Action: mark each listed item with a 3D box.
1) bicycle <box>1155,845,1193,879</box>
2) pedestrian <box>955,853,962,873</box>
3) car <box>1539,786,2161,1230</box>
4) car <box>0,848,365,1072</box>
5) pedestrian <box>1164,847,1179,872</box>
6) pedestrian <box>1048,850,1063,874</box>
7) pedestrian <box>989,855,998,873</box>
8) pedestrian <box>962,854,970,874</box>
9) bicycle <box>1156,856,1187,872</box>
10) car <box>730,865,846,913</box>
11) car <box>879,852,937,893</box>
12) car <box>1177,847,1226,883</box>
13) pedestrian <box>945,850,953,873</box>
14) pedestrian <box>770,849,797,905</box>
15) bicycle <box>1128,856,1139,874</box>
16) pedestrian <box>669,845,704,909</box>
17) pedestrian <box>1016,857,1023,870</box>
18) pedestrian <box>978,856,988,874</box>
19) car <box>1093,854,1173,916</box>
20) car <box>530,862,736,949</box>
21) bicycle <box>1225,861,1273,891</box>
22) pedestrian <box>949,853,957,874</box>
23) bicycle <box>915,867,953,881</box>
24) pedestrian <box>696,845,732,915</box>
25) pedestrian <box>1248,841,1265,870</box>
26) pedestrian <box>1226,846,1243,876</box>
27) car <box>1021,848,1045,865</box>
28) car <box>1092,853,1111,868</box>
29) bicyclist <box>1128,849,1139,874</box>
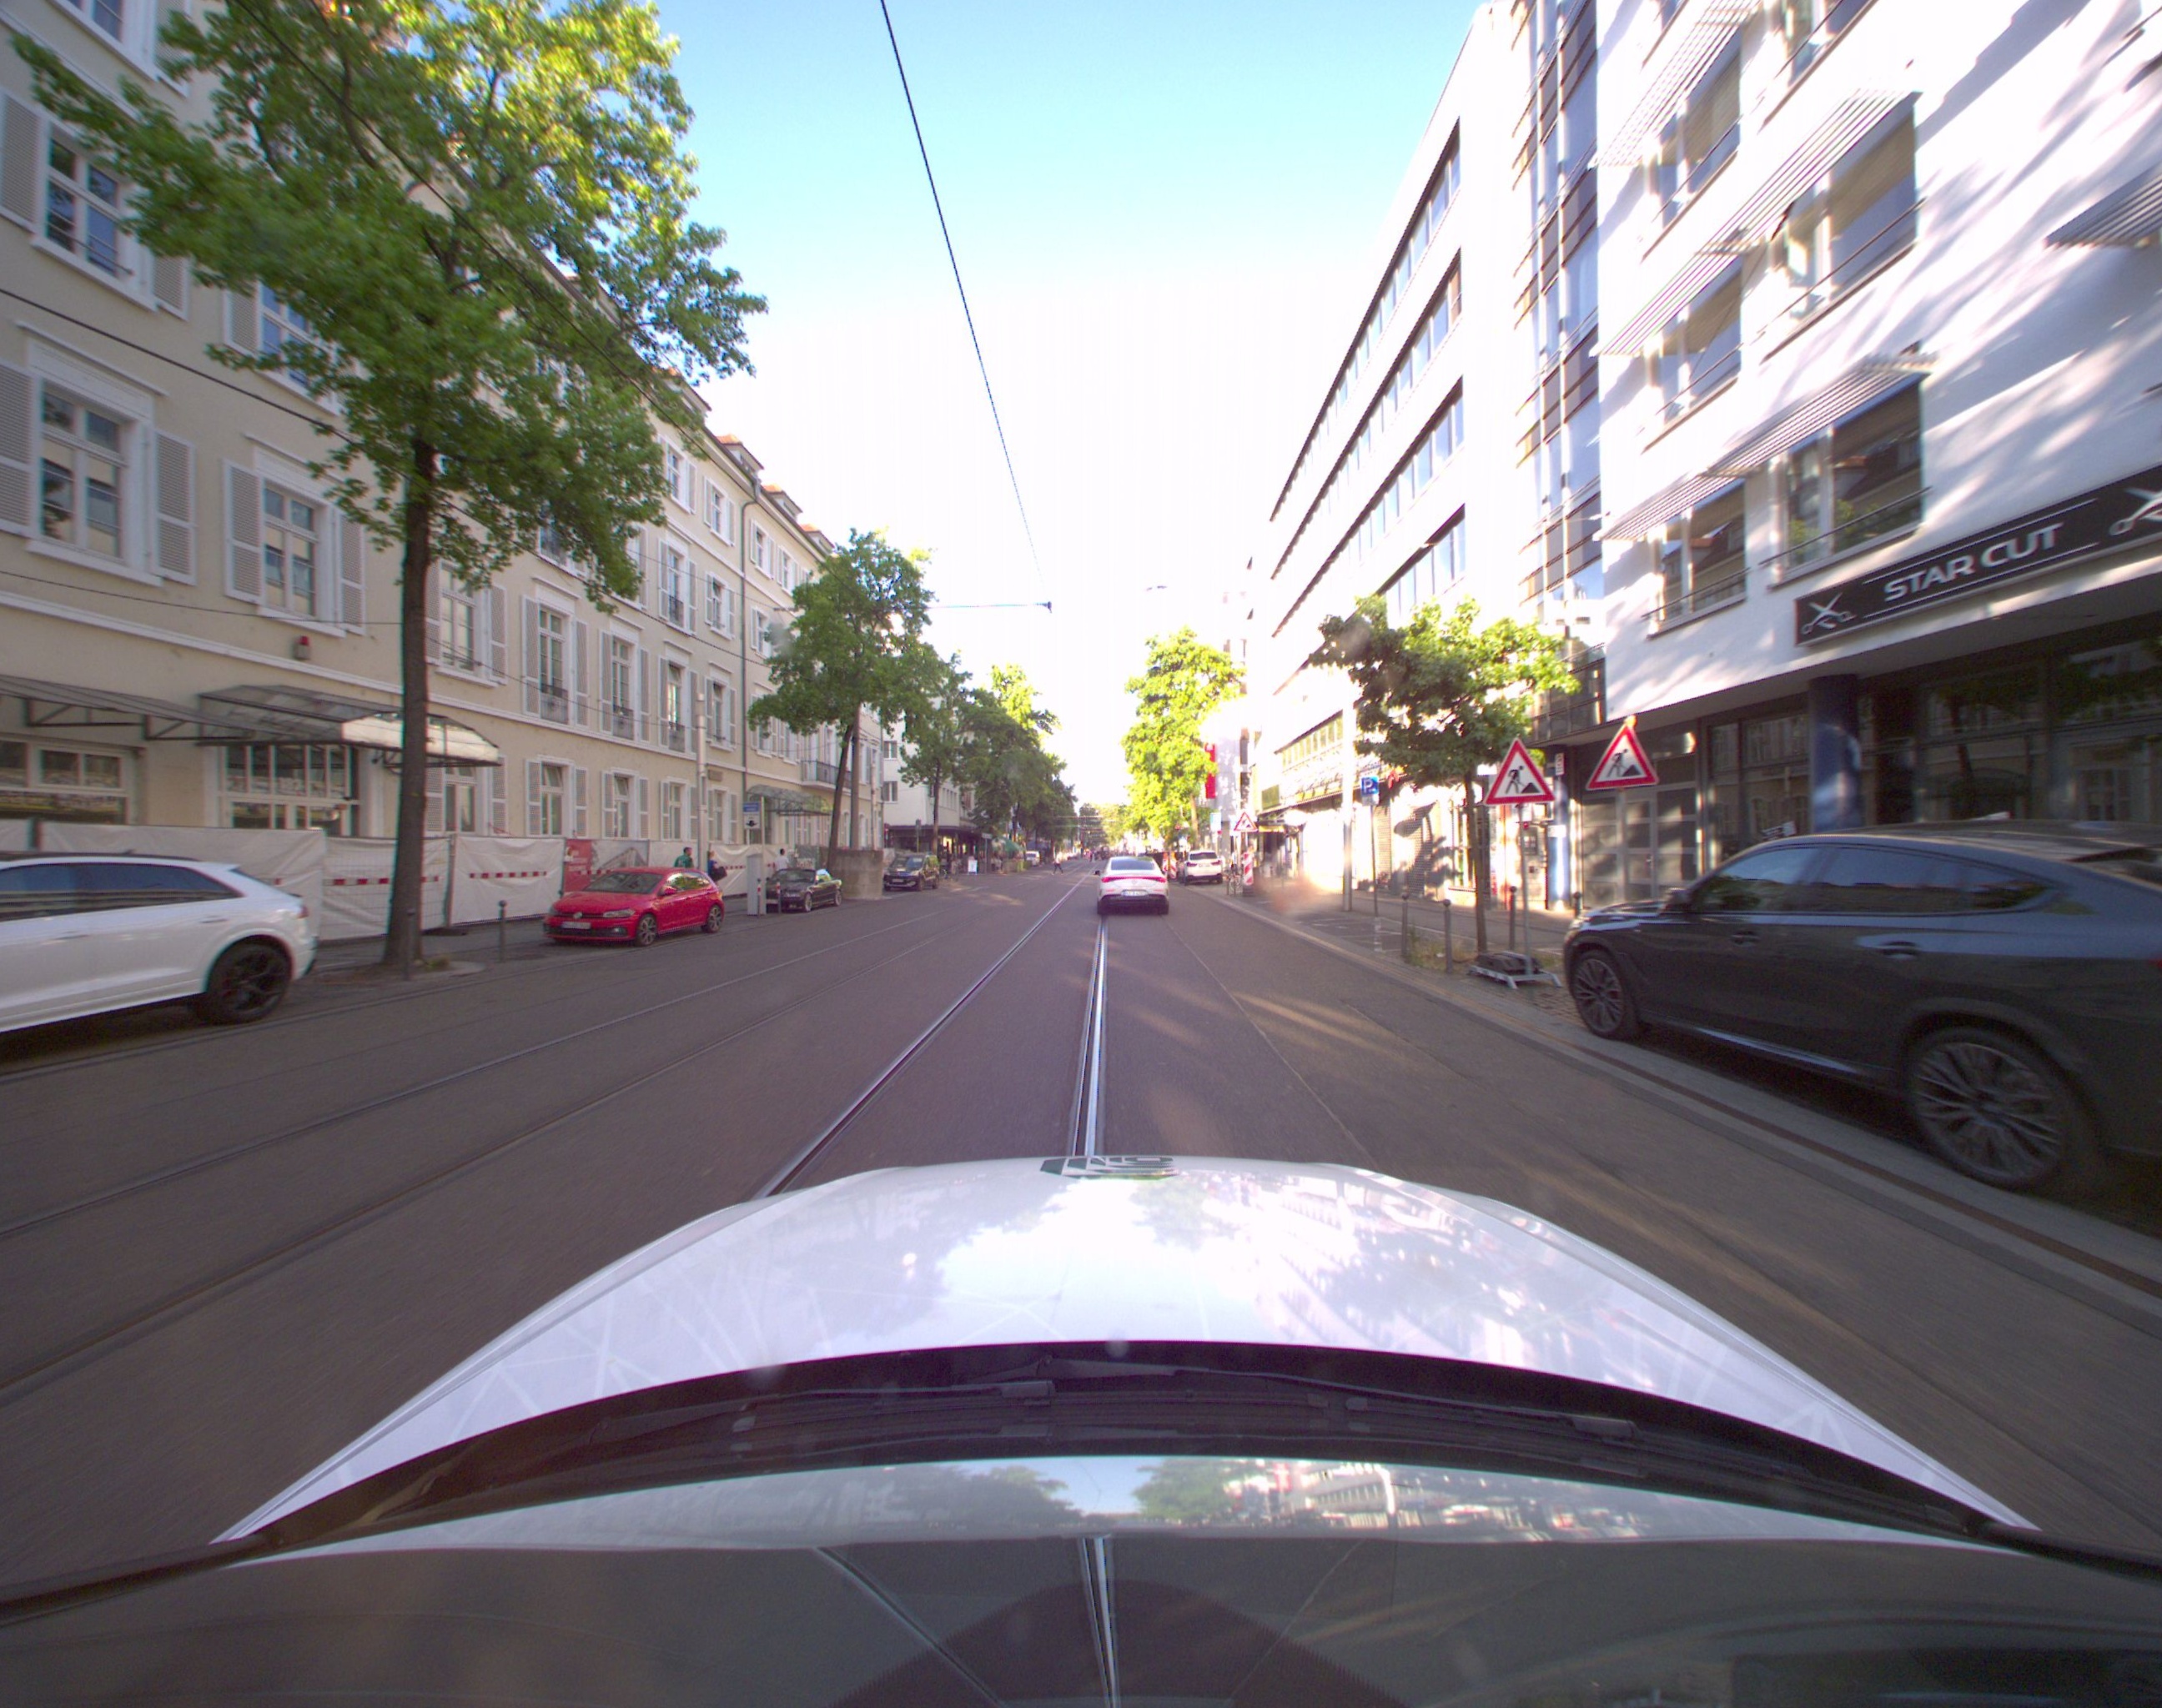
[{"bbox_3d":[5.698,0.485,50.513,1.986,2.014,4.001,-1,0,2],"label":"bicycle"},{"bbox_3d":[-10.599,0.779,70.675,0.516,1.781,0.607,-1,0,-6],"label":"pedestrian"},{"bbox_3d":[5.216,0.568,5.163,1.986,1.713,4.868,-1,0,2],"label":"car"},{"bbox_3d":[-9.119,0.807,6.640,1.954,1.692,5.017,-1,0,3],"label":"car"},{"bbox_3d":[6.686,0.400,60.192,0.920,1.774,0.870,-1,0,-13],"label":"pedestrian"},{"bbox_3d":[-1.907,0.560,61.218,0.920,1.774,0.870,-1,0,-13],"label":"pedestrian"},{"bbox_3d":[-7.450,0.883,69.455,0.519,1.478,0.644,-3,-1,-26],"label":"pedestrian"},{"bbox_3d":[-9.498,0.851,67.137,0.515,1.615,0.650,-1,0,1],"label":"pedestrian"},{"bbox_3d":[6.678,0.731,60.180,2.050,1.135,0.870,-1,0,-13],"label":"bicycle"},{"bbox_3d":[-8.908,1.029,25.146,1.986,1.292,4.002,-1,0,2],"label":"car"},{"bbox_3d":[-8.064,0.827,38.247,1.543,1.796,3.176,-1,0,10],"label":"car"},{"bbox_3d":[6.157,0.542,41.979,1.986,1.728,4.243,-1,0,2],"label":"car"},{"bbox_3d":[-10.703,0.636,65.917,0.515,1.855,0.650,-1,0,1],"label":"pedestrian"},{"bbox_3d":[-10.876,0.820,29.761,0.705,2.004,0.675,-1,0,-2],"label":"pedestrian"},{"bbox_3d":[3.656,0.778,57.129,0.737,1.188,2.162,-1,0,3],"label":"bicycle"},{"bbox_3d":[-11.541,0.662,23.838,0.706,1.806,0.675,-1,0,-4],"label":"pedestrian"},{"bbox_3d":[-5.999,0.965,79.486,0.515,1.234,0.651,-1,0,3],"label":"pedestrian"},{"bbox_3d":[-8.161,0.903,67.997,0.564,1.464,0.653,-1,0,21],"label":"pedestrian"},{"bbox_3d":[1.293,0.747,21.775,1.862,1.469,4.042,-1,0,0],"label":"car"},{"bbox_3d":[-8.885,0.940,16.638,1.682,1.499,4.237,-1,0,3],"label":"car"},{"bbox_3d":[6.328,0.832,30.773,1.714,1.062,0.581,-1,0,5],"label":"bicycle"},{"bbox_3d":[-10.133,0.746,64.552,0.515,1.653,0.650,-1,0,1],"label":"pedestrian"},{"bbox_3d":[-8.759,1.200,48.507,2.232,0.830,0.721,-1,0,24],"label":"bicycle"},{"bbox_3d":[-10.621,0.746,23.595,0.705,2.004,0.675,-1,0,-2],"label":"pedestrian"},{"bbox_3d":[10.669,0.092,49.588,0.799,1.774,0.680,-1,0,-10],"label":"pedestrian"},{"bbox_3d":[9.300,0.403,49.239,0.799,1.774,0.680,-1,0,-10],"label":"pedestrian"},{"bbox_3d":[-5.909,0.333,100.646,1.981,2.013,4.011,-1,0,10],"label":"car"},{"bbox_3d":[4.492,1.368,177.185,4.024,3.114,8.434,-1,0,2],"label":"car"},{"bbox_3d":[3.637,0.532,56.913,0.722,1.702,0.811,-1,0,2],"label":"bicyclist"}]
